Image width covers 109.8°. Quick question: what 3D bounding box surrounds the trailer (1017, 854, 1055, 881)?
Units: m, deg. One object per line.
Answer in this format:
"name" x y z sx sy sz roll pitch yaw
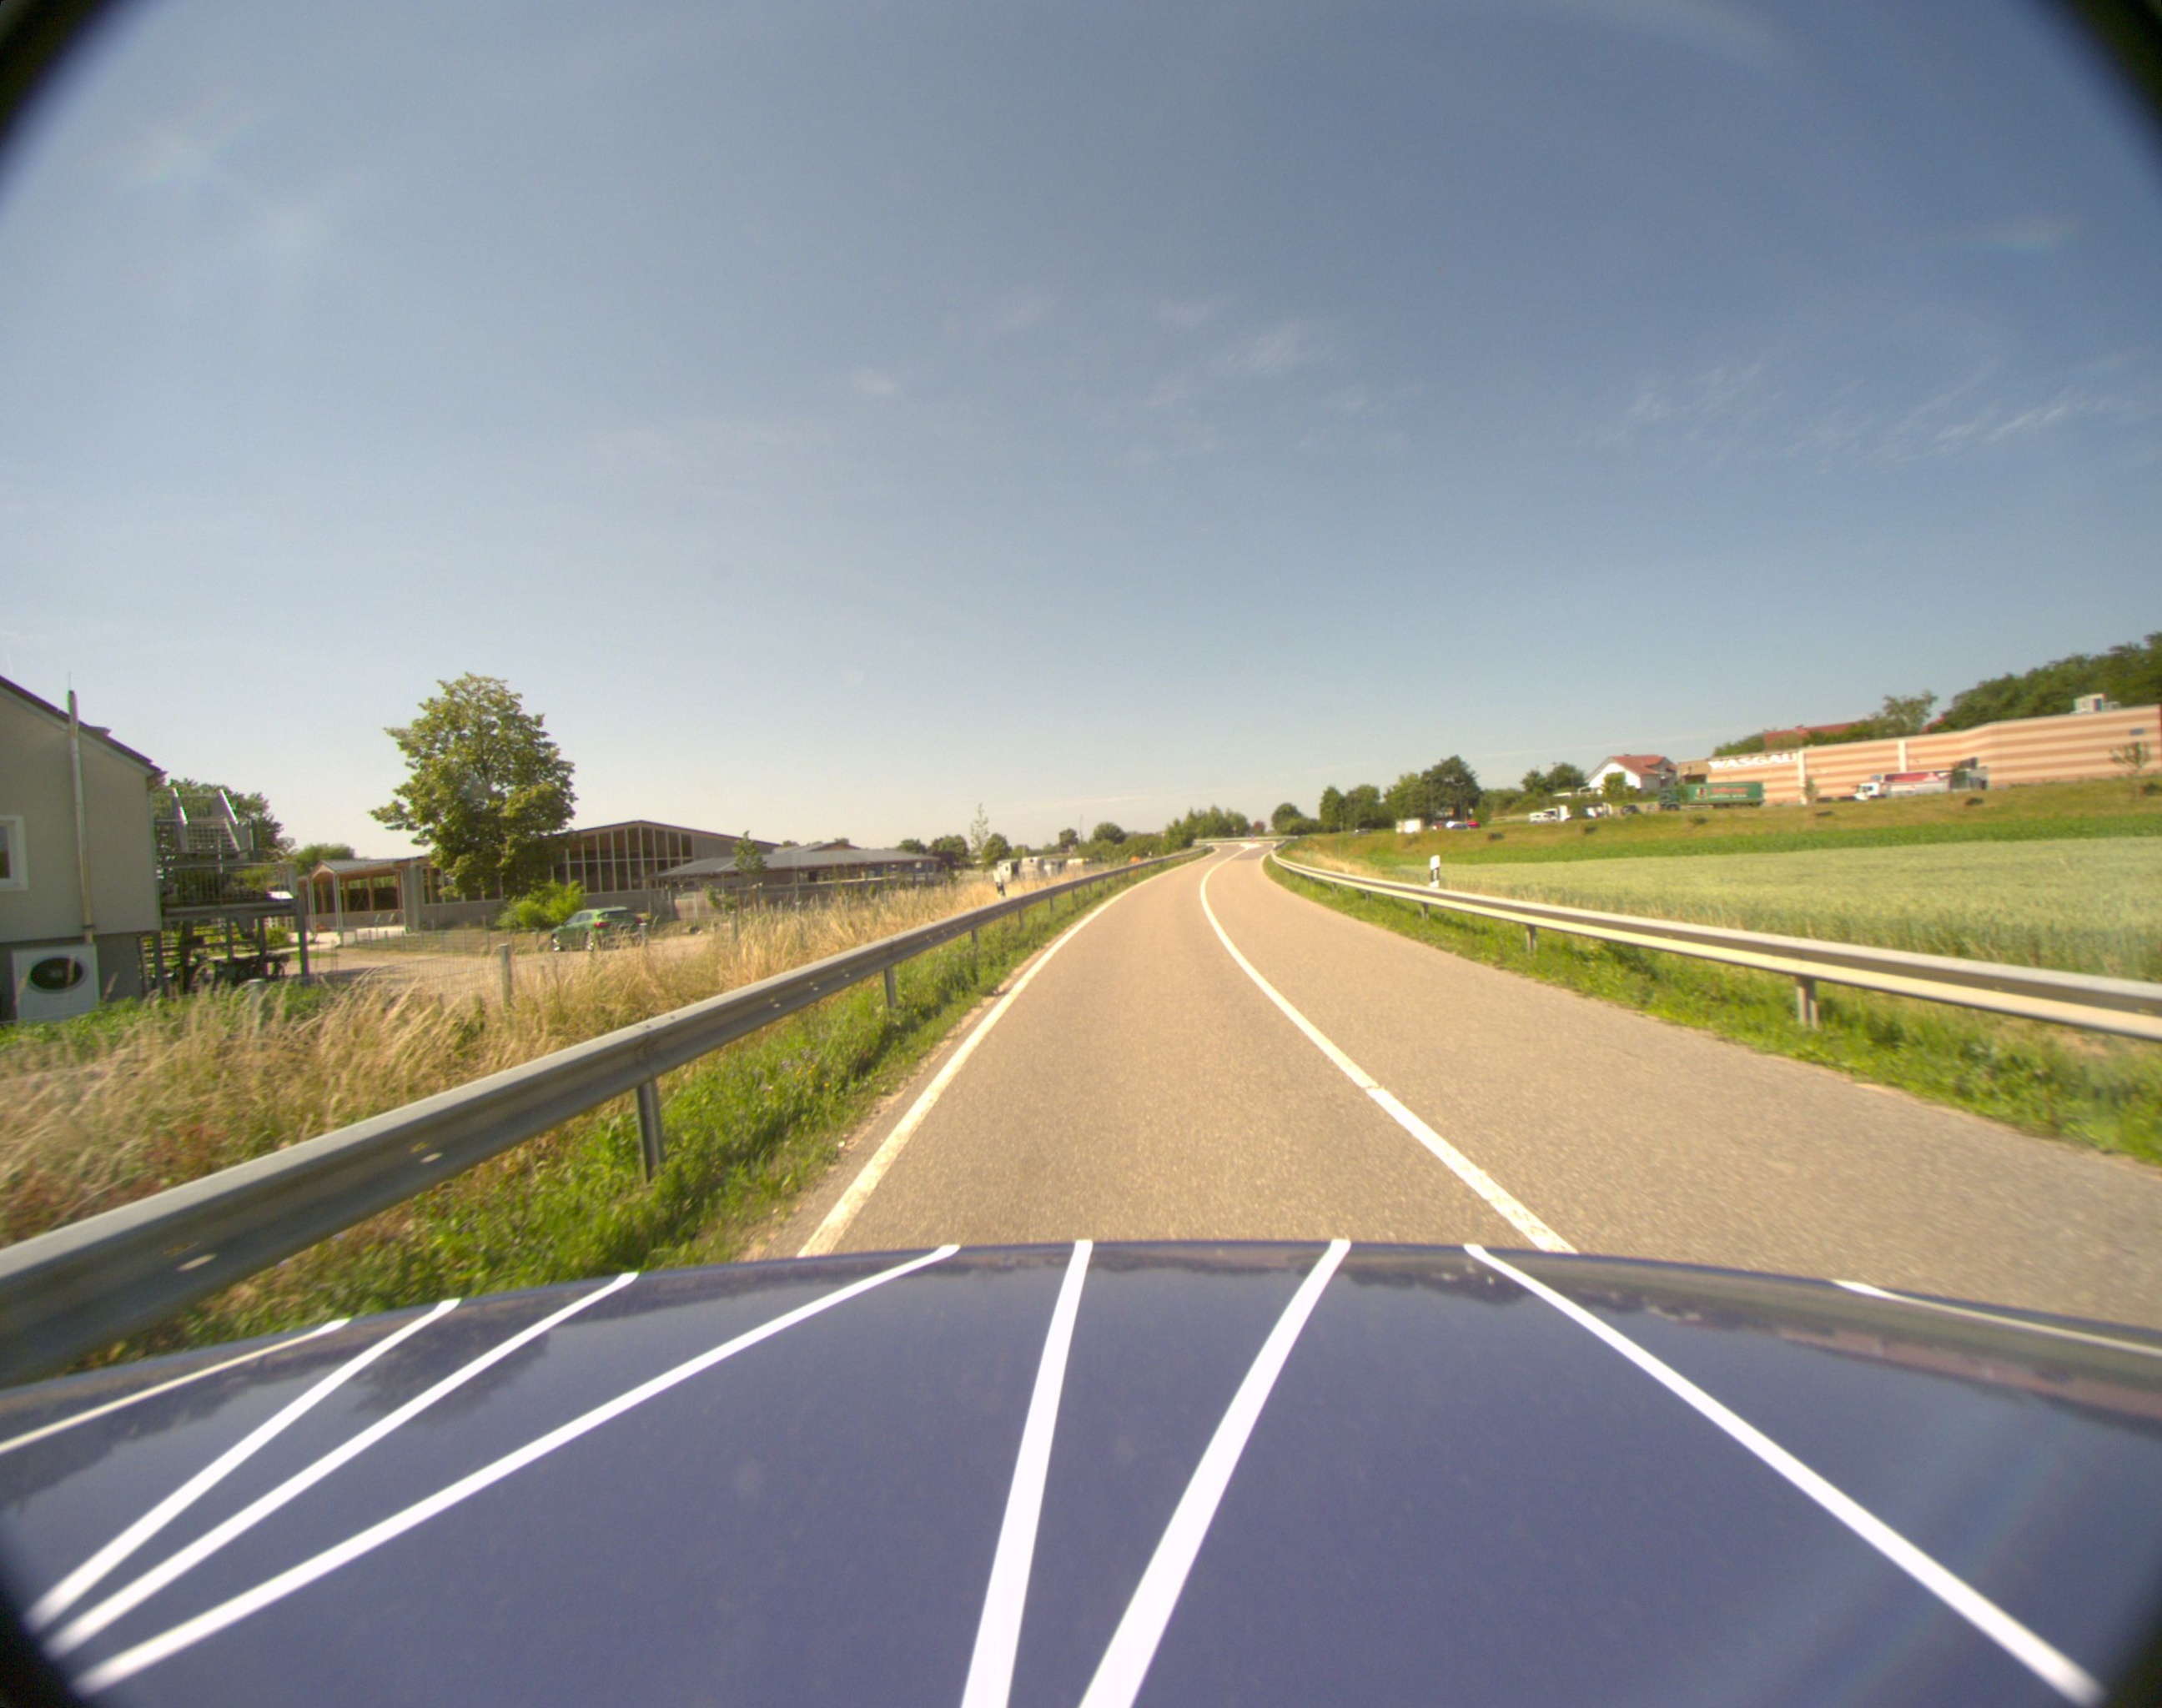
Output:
"trailer" -5.140 1.534 85.637 2.237 2.847 5.034 -3 0 -29

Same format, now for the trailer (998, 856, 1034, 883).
"trailer" -7.035 1.609 81.626 2.178 2.655 4.470 -4 2 -29

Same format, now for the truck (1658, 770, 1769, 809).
"truck" 75.332 -7.637 90.755 9.917 3.458 2.883 -4 2 42

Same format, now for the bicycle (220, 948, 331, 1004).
"bicycle" -22.283 3.343 21.054 0.713 1.184 1.973 -5 0 37

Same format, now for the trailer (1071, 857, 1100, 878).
"trailer" 0.655 2.011 113.756 3.412 2.789 2.169 -4 1 34

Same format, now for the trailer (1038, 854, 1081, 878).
"trailer" -2.870 1.570 98.943 5.175 2.672 2.213 -4 0 36

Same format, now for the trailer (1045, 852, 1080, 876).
"trailer" -2.183 1.191 87.195 1.829 2.613 4.543 -1 -2 -32

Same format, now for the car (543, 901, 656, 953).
"car" -18.149 2.783 28.595 4.363 1.571 1.936 -5 2 36

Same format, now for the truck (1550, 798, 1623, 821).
"truck" 92.932 -8.109 139.853 10.698 3.173 2.450 -5 2 23

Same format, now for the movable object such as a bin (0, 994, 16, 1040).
"movable object such as a bin" -23.120 3.487 16.109 0.502 0.905 0.561 -4 1 38

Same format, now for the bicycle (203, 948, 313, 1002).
"bicycle" -23.176 3.385 21.440 0.713 1.184 1.973 -5 0 36

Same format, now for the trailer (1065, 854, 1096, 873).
"trailer" -0.107 1.424 110.212 4.084 2.376 2.010 -7 -1 43

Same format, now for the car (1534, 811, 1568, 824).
"car" 74.196 -5.742 119.877 4.322 1.589 2.003 -4 2 36

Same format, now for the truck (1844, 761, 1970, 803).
"truck" 90.302 -7.832 83.372 8.860 3.544 2.883 -4 2 38

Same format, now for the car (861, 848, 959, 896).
"car" -15.211 1.661 67.230 8.974 3.631 2.784 -4 0 33

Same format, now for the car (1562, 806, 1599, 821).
"car" 72.794 -5.957 110.761 4.322 1.694 2.003 -4 2 37
